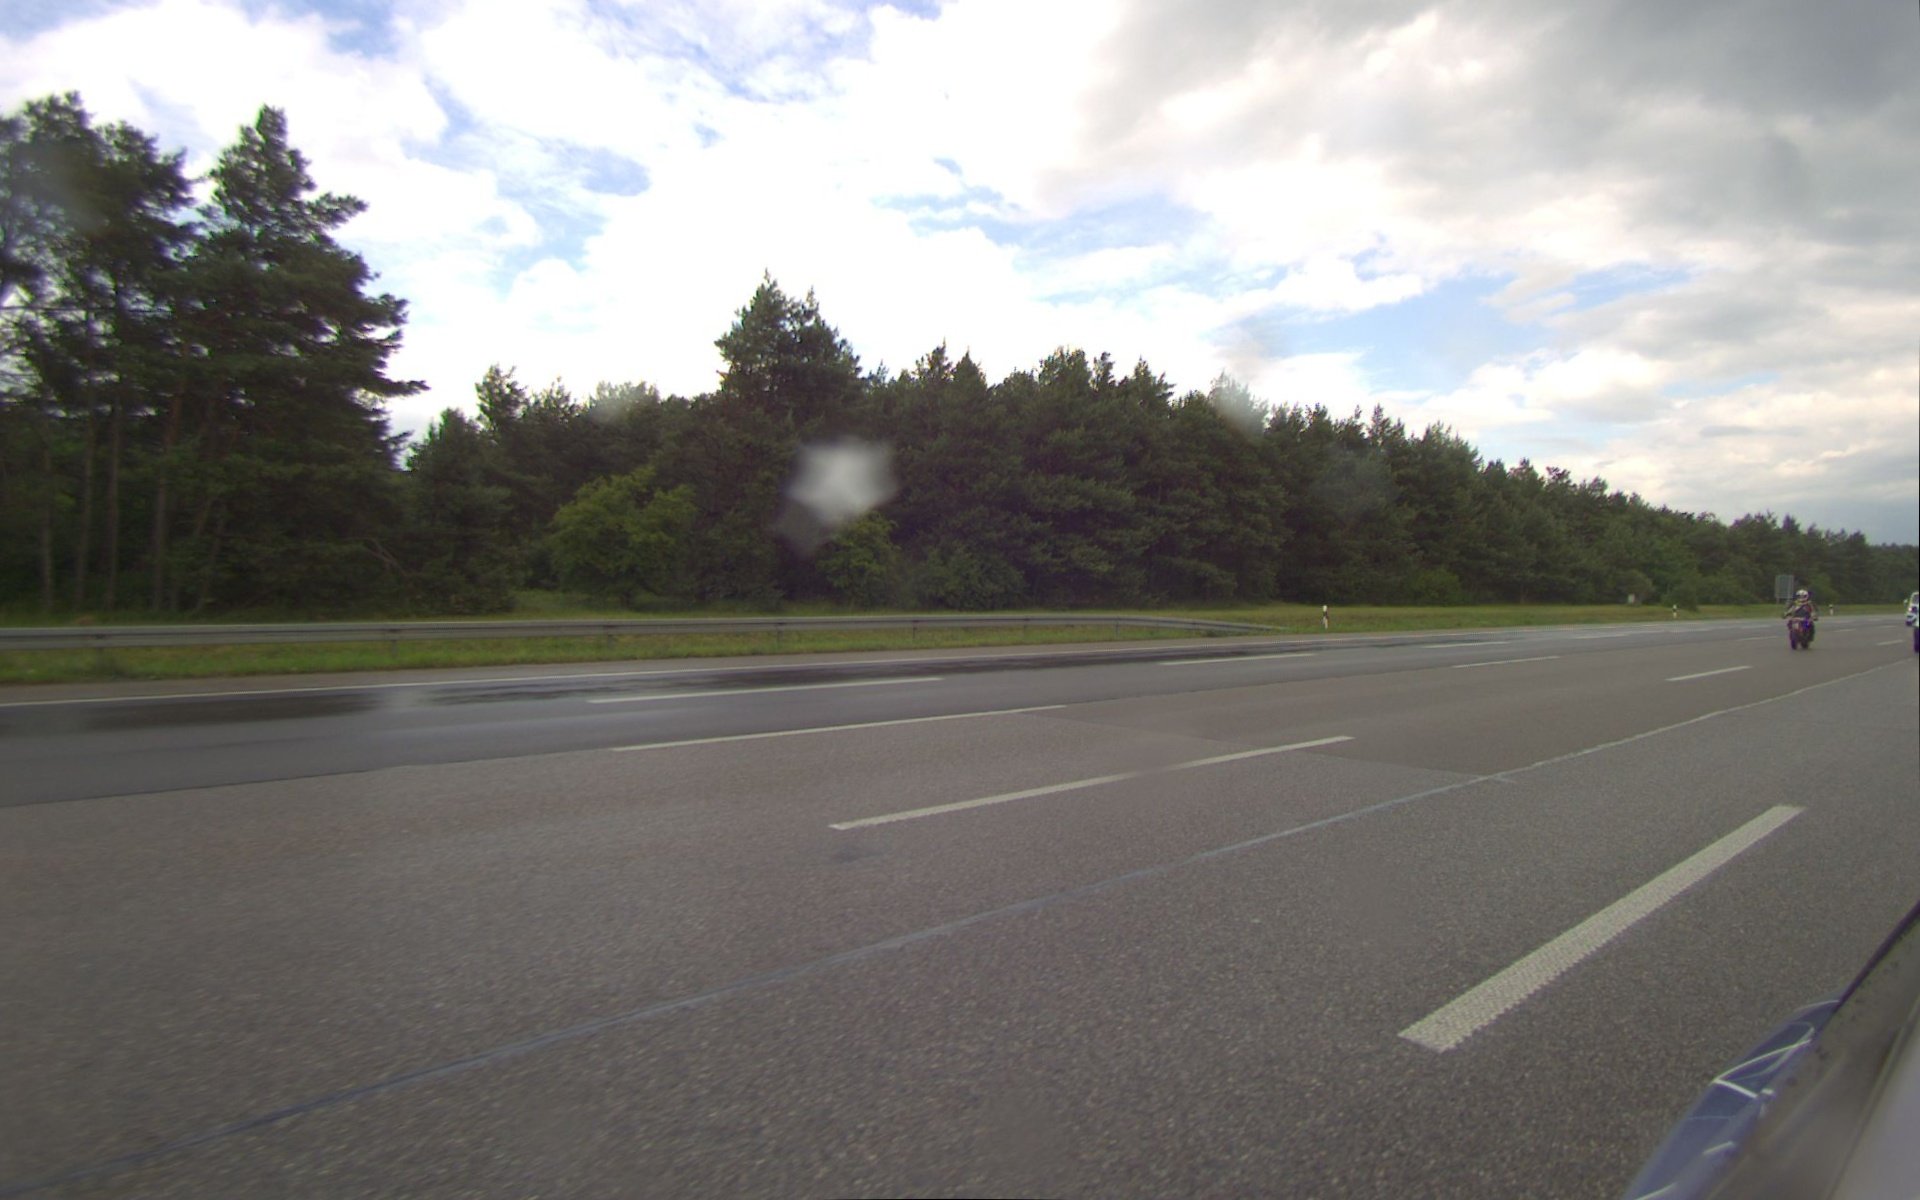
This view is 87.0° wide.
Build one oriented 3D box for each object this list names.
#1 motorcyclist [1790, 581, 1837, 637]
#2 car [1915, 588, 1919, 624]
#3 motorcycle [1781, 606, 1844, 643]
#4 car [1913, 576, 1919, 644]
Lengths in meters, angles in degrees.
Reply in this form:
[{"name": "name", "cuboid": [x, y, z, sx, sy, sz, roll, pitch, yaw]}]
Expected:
[{"name": "motorcyclist", "cuboid": [25.237, 0.254, 29.931, 0.941, 1.635, 0.893, 0, 0, -38]}, {"name": "car", "cuboid": [57.727, 0.364, 59.002, 5.379, 2.039, 2.000, 0, 0, -36]}, {"name": "motorcycle", "cuboid": [25.160, 0.703, 29.869, 2.134, 1.044, 1.002, 0, 1, -38]}, {"name": "car", "cuboid": [29.424, 0.288, 29.296, 4.791, 1.926, 1.969, 0, 1, -38]}]
